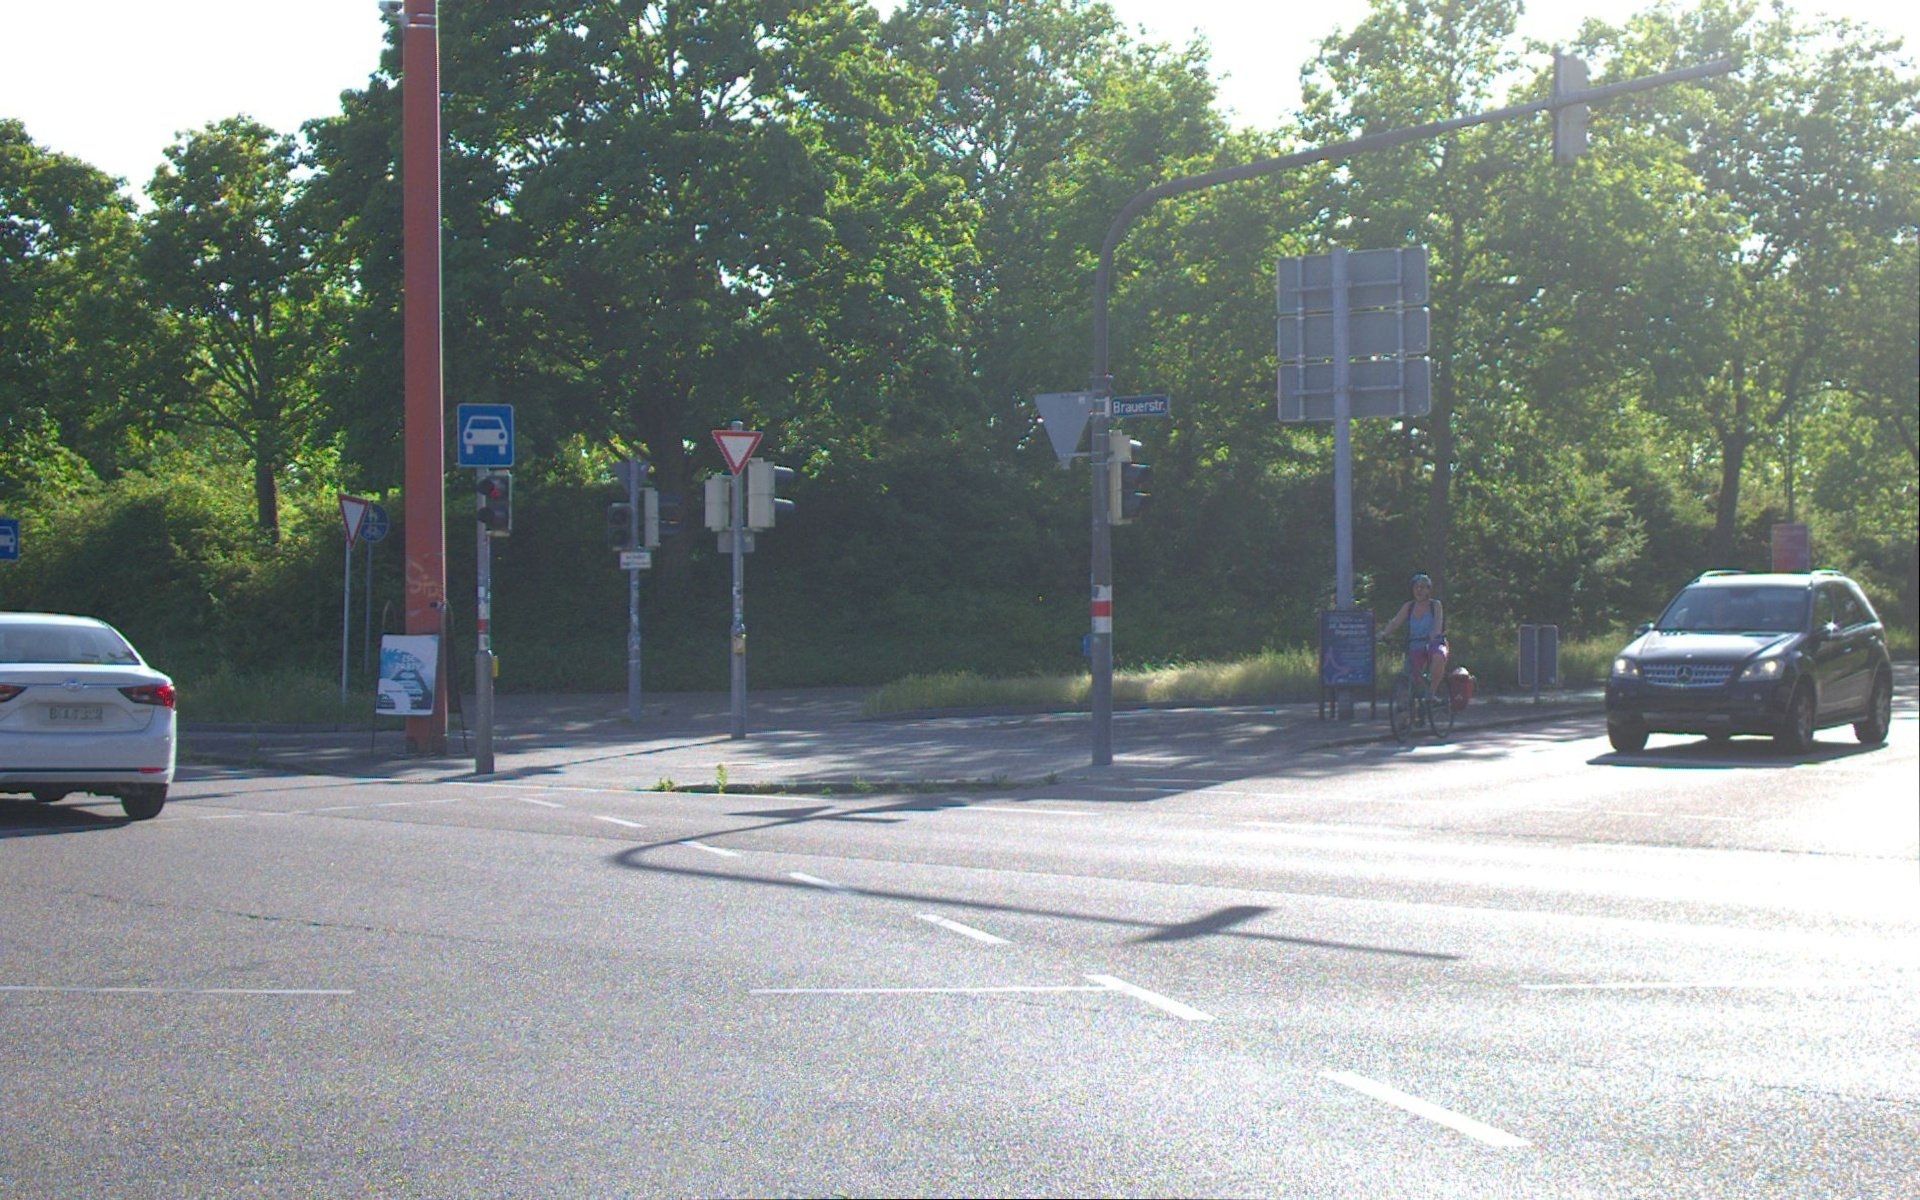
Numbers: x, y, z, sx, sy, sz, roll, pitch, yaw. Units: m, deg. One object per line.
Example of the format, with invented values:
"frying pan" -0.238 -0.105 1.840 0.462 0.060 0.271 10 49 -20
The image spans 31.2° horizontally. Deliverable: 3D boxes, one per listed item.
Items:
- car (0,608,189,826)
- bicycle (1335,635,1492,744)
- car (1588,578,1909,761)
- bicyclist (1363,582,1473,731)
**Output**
"car" -7.130 0.795 25.291 1.767 1.459 4.366 0 0 -28
"bicycle" 4.828 0.931 36.481 0.765 1.088 2.011 0 0 37
"car" 8.076 0.662 34.892 1.905 1.721 4.645 0 0 30
"bicyclist" 4.871 0.590 36.549 0.760 1.552 0.979 -1 0 37
